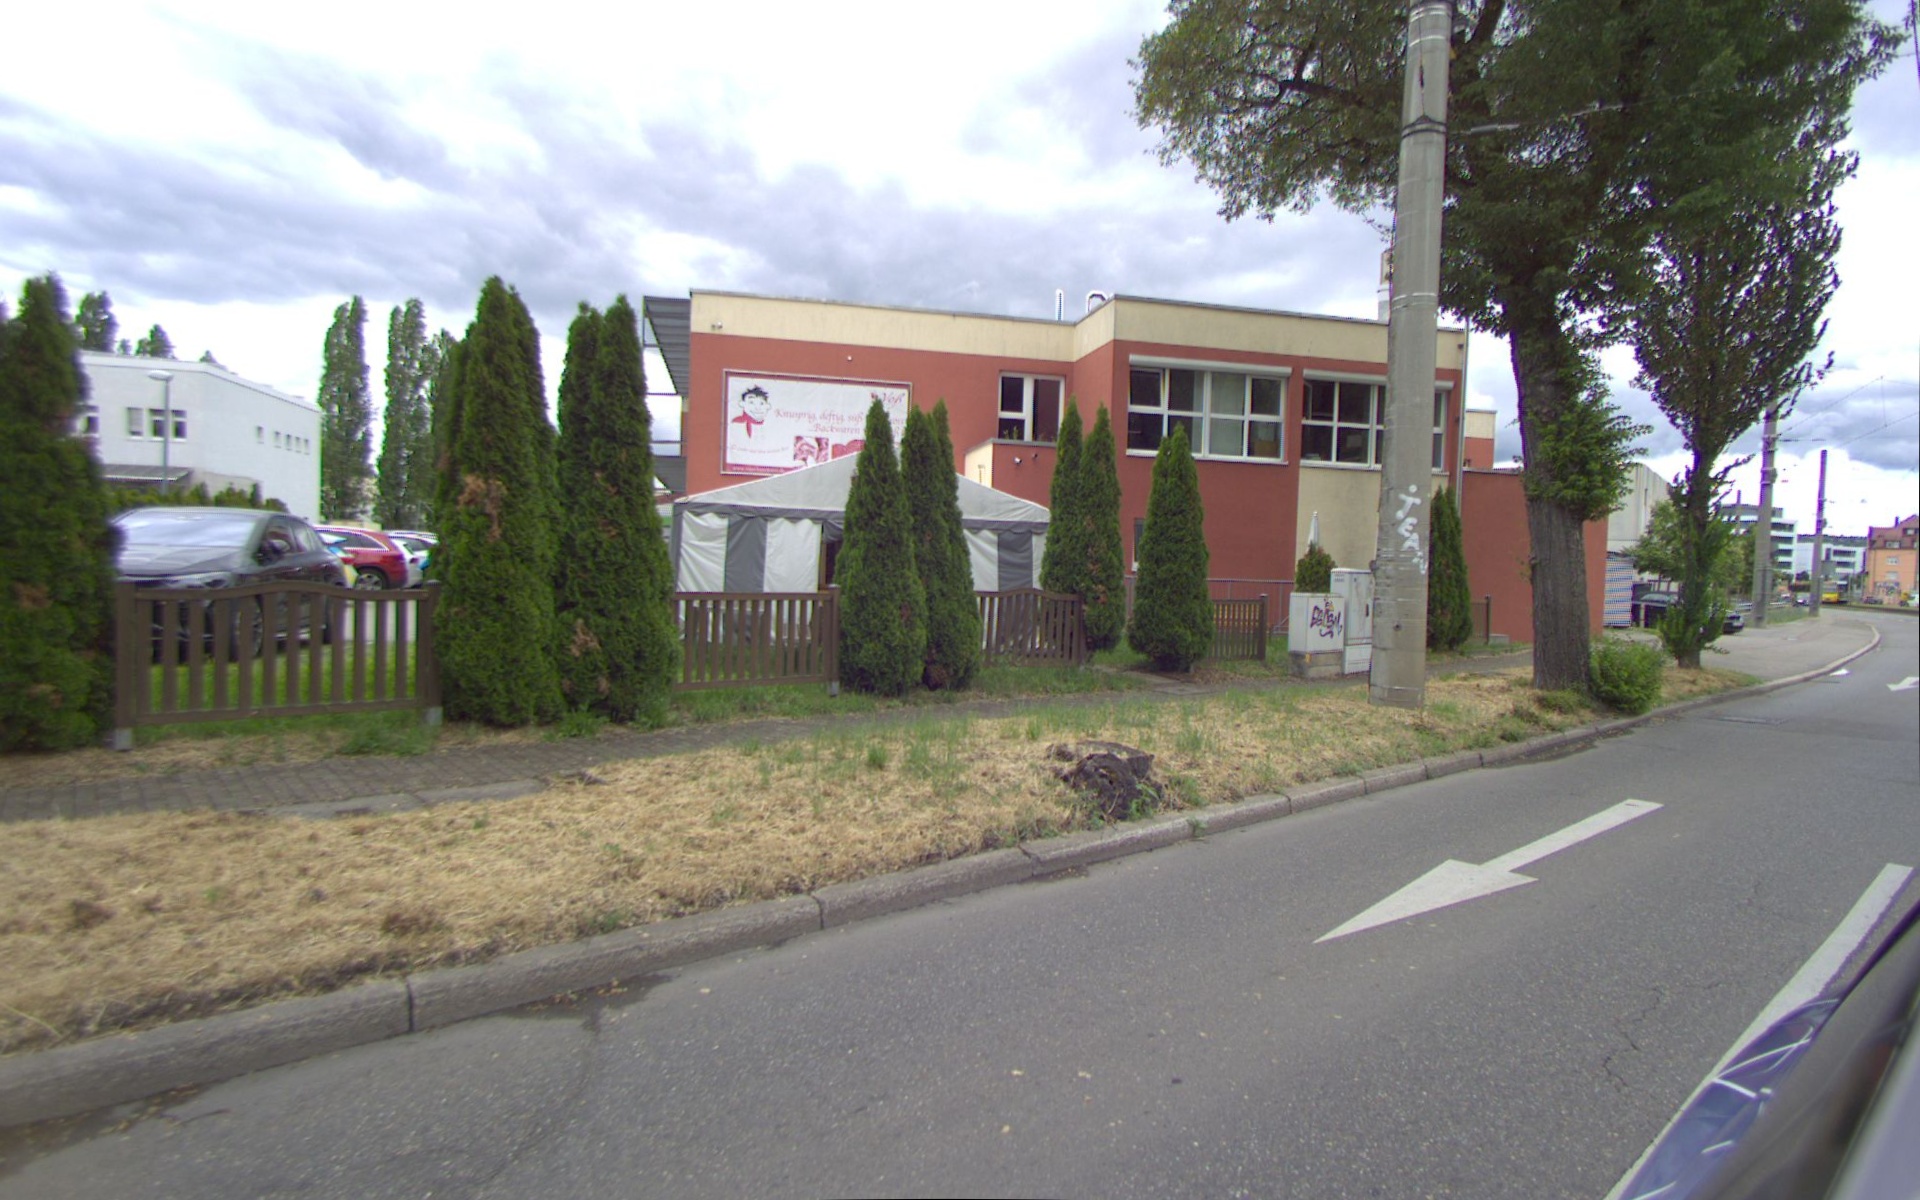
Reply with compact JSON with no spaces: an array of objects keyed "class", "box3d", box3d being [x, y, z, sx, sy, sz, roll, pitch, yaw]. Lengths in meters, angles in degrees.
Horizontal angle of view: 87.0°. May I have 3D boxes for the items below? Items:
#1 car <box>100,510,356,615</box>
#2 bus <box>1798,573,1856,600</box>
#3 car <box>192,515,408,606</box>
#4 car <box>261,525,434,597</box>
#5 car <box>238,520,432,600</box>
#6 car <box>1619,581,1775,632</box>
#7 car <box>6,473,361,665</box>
[{"class":"car","box3d":[-14.367,-0.700,20.002,3.928,1.860,1.999,0,2,-39]},{"class":"bus","box3d":[137.057,-2.250,160.157,3.519,4.001,10.422,1,2,21]},{"class":"car","box3d":[-14.891,-0.855,22.905,3.928,1.860,1.999,0,2,-39]},{"class":"car","box3d":[-17.134,-1.069,28.363,3.928,1.860,1.999,0,2,-39]},{"class":"car","box3d":[-15.675,-0.959,25.463,3.928,1.860,1.999,0,2,-39]},{"class":"car","box3d":[26.424,0.198,36.476,1.726,1.460,4.246,1,4,-19]},{"class":"car","box3d":[-8.423,-0.347,11.524,1.958,1.727,4.386,1,2,-20]}]
